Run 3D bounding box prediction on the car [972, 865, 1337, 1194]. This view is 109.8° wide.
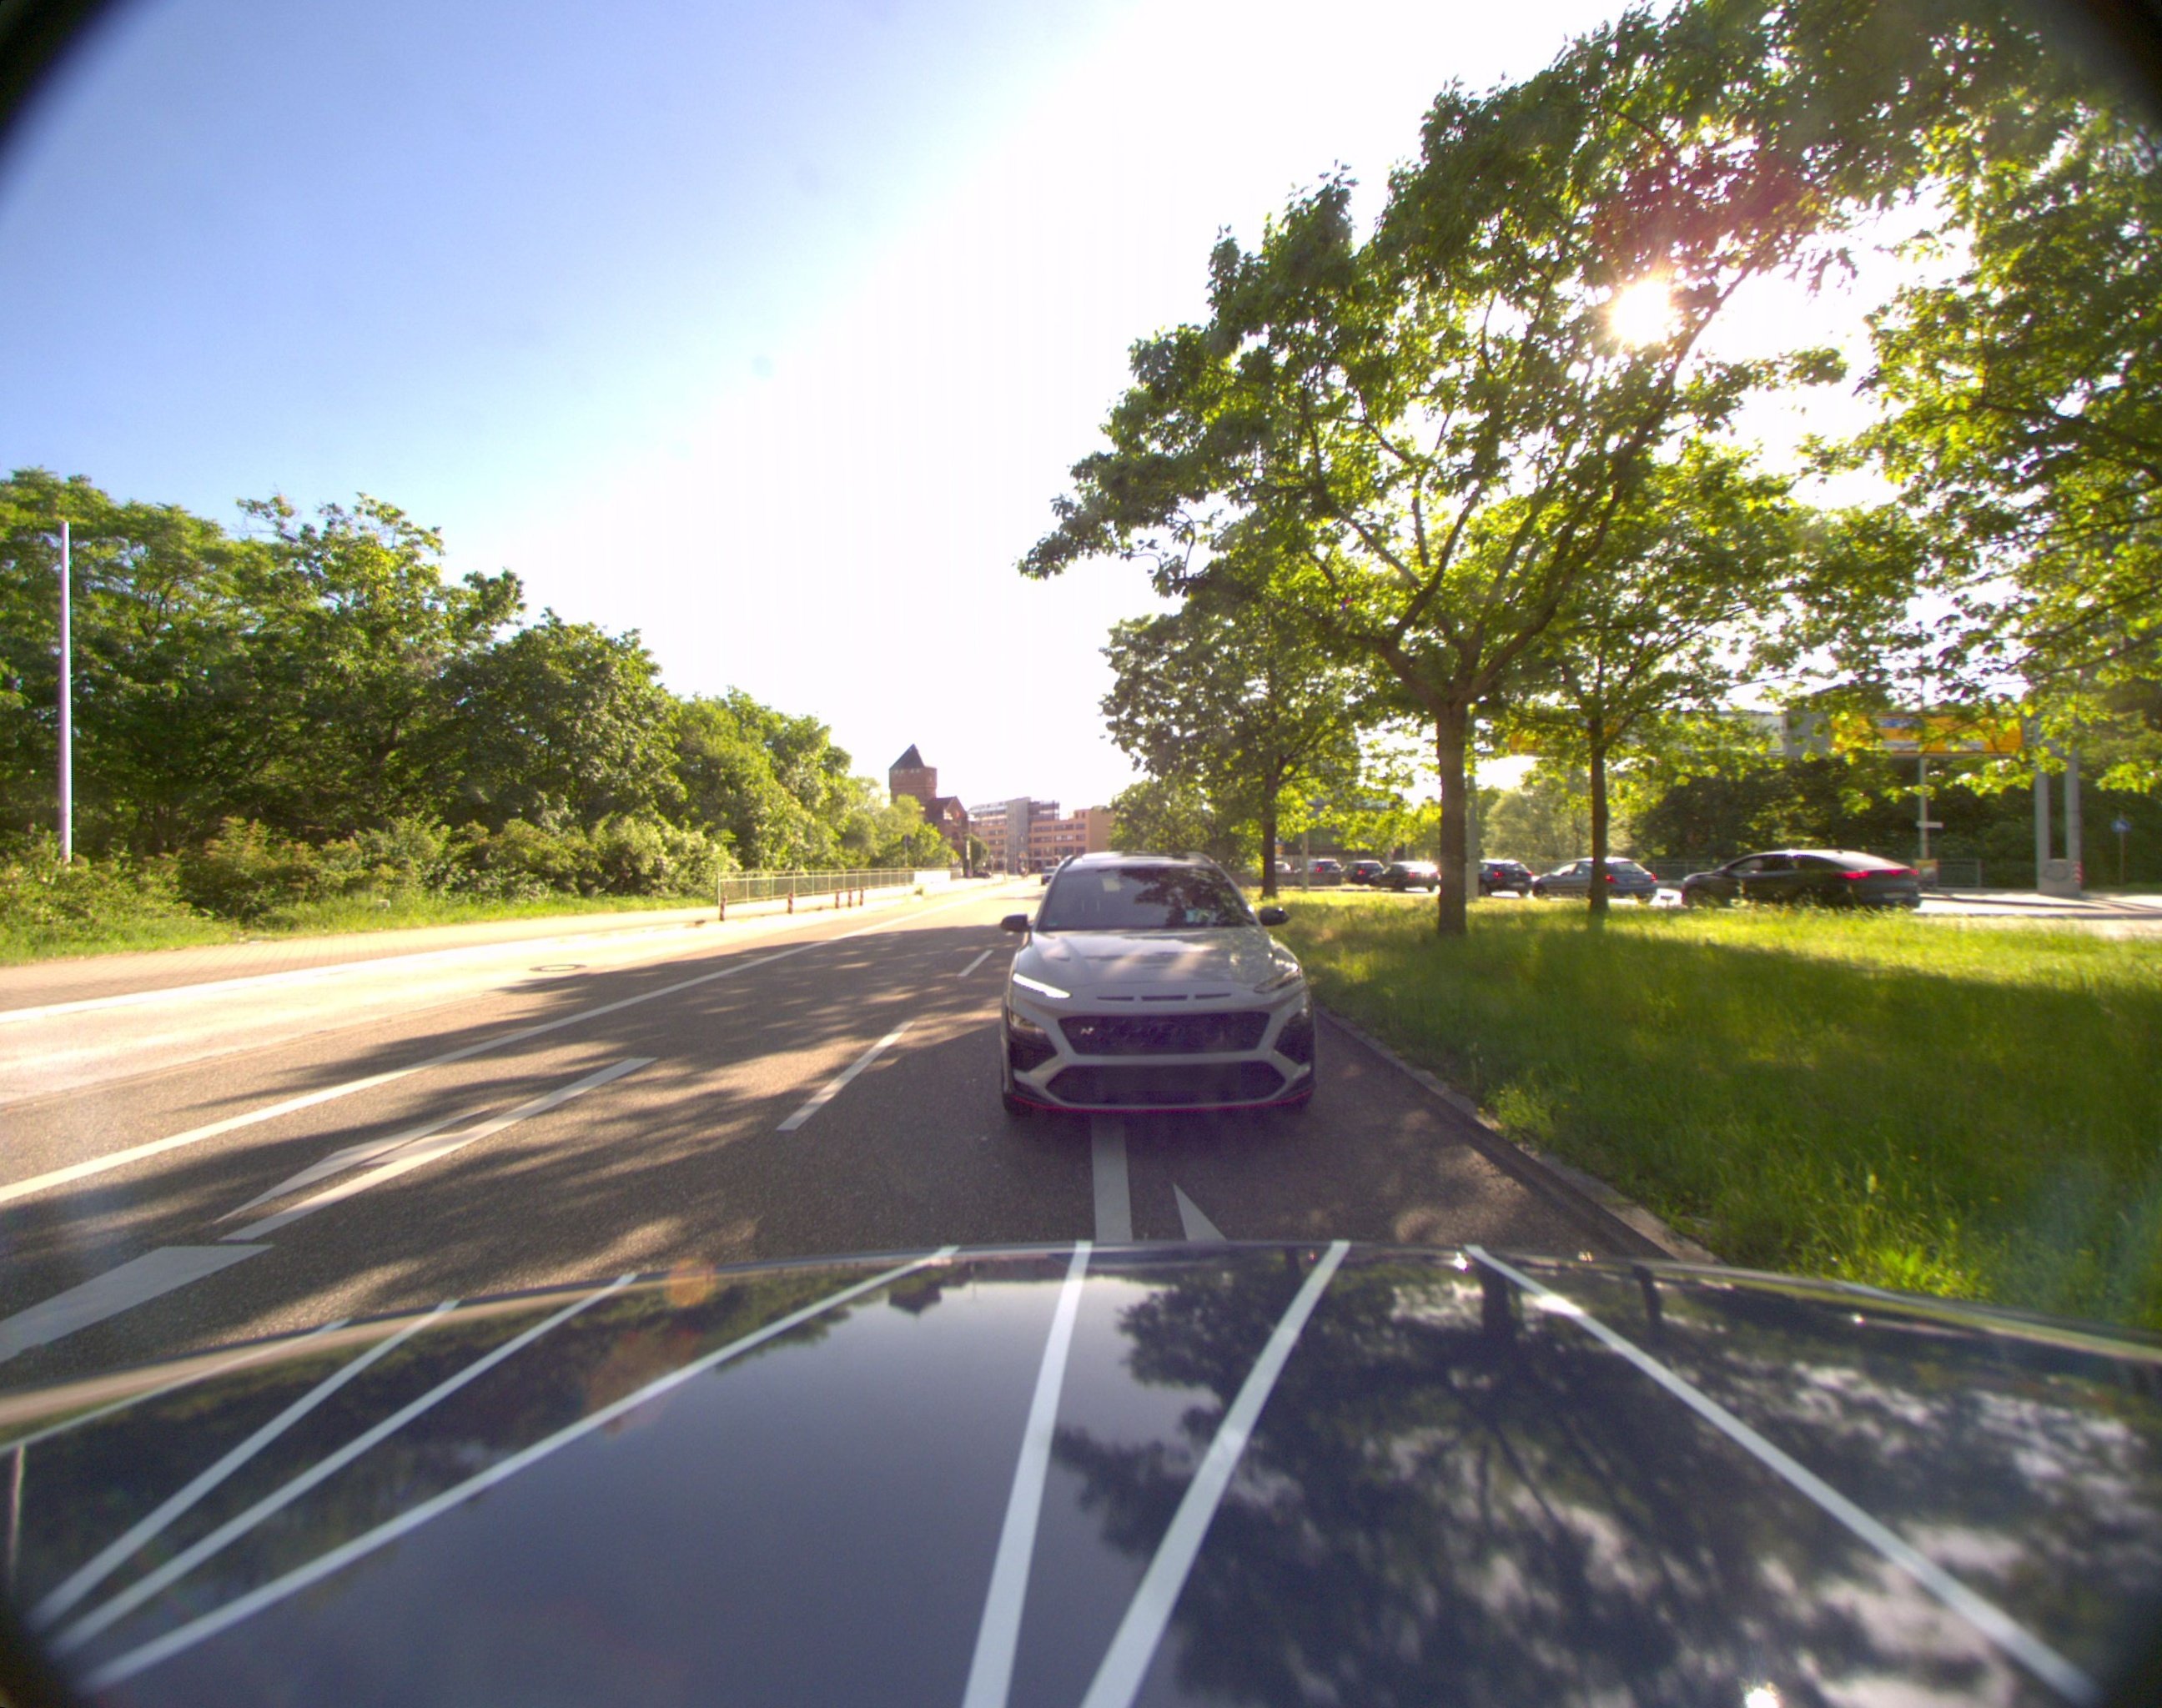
[{"bbox_3d":[0.384,0.885,5.685,1.752,1.523,3.988,-1,0,1],"label":"car"}]

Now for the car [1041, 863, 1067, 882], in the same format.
[{"bbox_3d":[-2.082,1.412,59.347,1.776,1.395,4.318,-1,0,1],"label":"car"}]

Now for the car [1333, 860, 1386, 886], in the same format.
[{"bbox_3d":[15.149,1.036,41.475,1.481,1.331,3.202,-1,-1,-6],"label":"car"}]

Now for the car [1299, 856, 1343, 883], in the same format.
[{"bbox_3d":[14.967,0.996,47.550,1.450,1.549,3.202,-1,-2,-6],"label":"car"}]

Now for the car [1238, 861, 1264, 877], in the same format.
[{"bbox_3d":[13.942,1.280,62.324,1.199,1.252,2.768,-1,-2,-6],"label":"car"}]

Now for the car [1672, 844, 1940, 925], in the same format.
[{"bbox_3d":[16.741,0.642,17.940,1.832,1.638,4.458,-1,0,-5],"label":"car"}]

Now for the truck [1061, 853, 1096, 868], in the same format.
[{"bbox_3d":[-0.642,1.506,172.695,3.535,3.231,9.141,-1,0,-35],"label":"truck"}]

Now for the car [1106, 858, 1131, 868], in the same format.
[{"bbox_3d":[7.833,1.871,158.946,2.178,2.001,5.399,-1,0,-42],"label":"car"}]

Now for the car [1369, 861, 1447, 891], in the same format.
[{"bbox_3d":[15.472,1.001,36.219,1.623,1.305,4.066,-1,0,-6],"label":"car"}]

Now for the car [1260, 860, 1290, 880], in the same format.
[{"bbox_3d":[14.315,1.213,56.166,1.228,1.331,2.882,-1,-3,-6],"label":"car"}]

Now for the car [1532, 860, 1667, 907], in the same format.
[{"bbox_3d":[16.388,0.884,24.230,1.561,1.355,3.608,-1,-1,-6],"label":"car"}]

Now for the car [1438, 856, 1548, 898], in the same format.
[{"bbox_3d":[16.185,0.858,30.146,1.875,1.541,4.221,-1,0,-4],"label":"car"}]

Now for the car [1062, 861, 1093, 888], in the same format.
[{"bbox_3d":[-0.170,1.149,44.489,1.677,1.463,4.151,-1,0,1],"label":"car"}]
